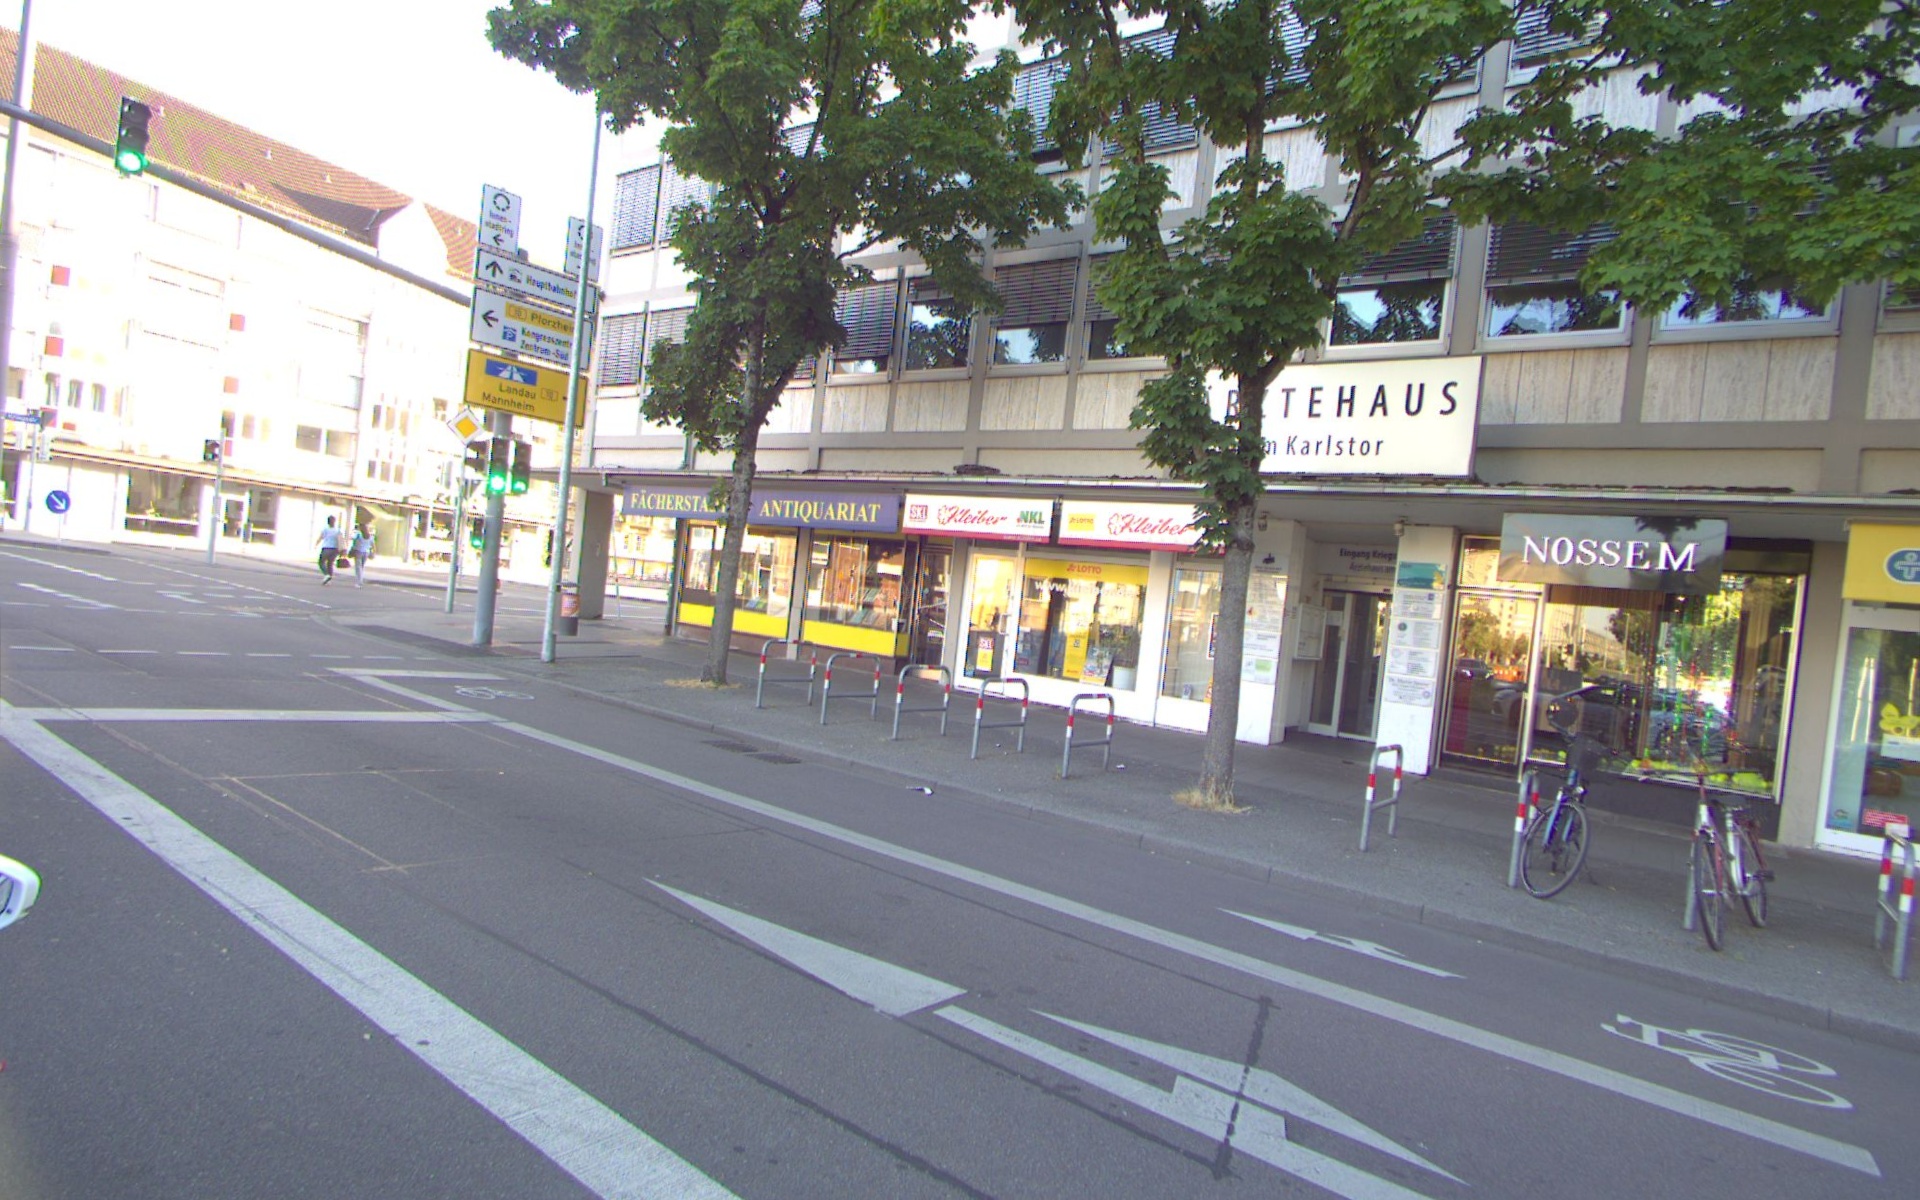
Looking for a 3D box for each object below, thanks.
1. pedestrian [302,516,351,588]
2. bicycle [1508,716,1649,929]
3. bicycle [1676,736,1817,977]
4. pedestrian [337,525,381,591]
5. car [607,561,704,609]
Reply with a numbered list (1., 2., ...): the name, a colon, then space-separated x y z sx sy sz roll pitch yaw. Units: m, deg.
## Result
1. pedestrian: -15.574 -1.179 24.752 0.716 1.670 0.768 6 1 -19
2. bicycle: 4.406 1.511 7.272 0.655 1.155 1.742 7 1 29
3. bicycle: 5.042 1.568 6.516 0.530 1.200 1.631 7 1 36
4. pedestrian: -15.352 -1.070 25.714 0.695 1.603 0.822 6 1 -19
5. car: -16.979 -0.814 56.273 2.192 1.567 4.612 3 -11 39
